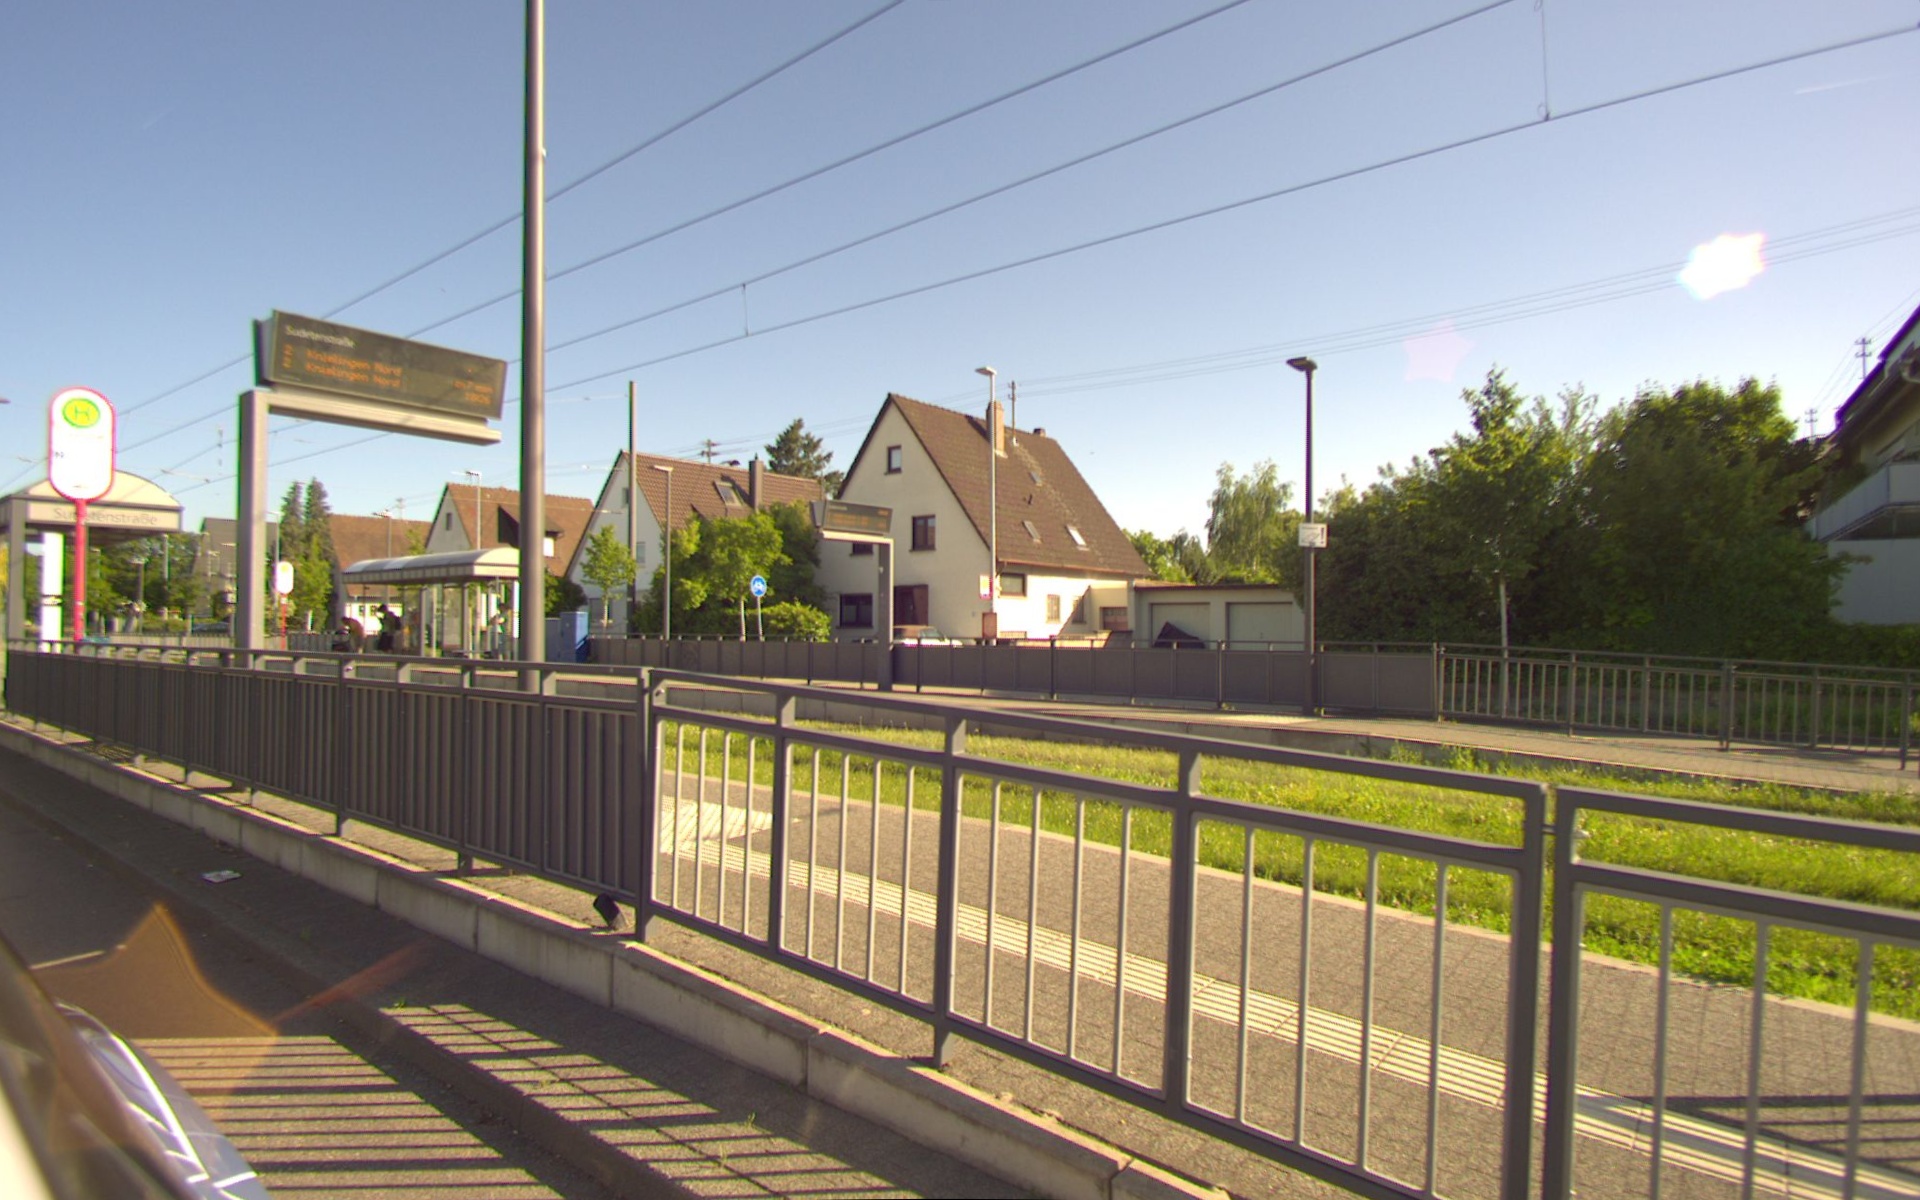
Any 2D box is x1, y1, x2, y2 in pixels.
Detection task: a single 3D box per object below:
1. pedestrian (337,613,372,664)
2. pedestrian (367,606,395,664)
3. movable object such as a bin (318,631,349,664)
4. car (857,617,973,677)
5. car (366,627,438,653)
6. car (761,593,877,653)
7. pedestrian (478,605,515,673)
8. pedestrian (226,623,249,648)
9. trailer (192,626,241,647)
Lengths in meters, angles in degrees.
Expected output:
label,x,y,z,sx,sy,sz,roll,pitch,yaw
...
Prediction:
label,x,y,z,sx,sy,sz,roll,pitch,yaw
pedestrian,-18.678,1.193,31.216,0.747,1.547,0.669,-1,-2,35
pedestrian,-17.504,1.061,30.608,0.579,1.721,0.515,-2,-2,35
movable object such as a bin,-19.017,1.432,30.707,0.740,0.995,0.541,-1,-2,35
car,-1.441,1.503,33.632,1.797,1.820,3.807,-1,0,39
car,-32.662,2.321,59.158,5.157,1.461,1.915,-1,-2,39
car,-4.845,0.751,35.238,1.926,1.984,3.958,-1,0,31
pedestrian,-11.897,0.995,25.977,0.770,1.709,0.495,-2,-5,40
pedestrian,-47.998,2.345,67.260,1.084,1.653,0.955,-1,-2,39
trailer,-60.531,2.958,82.434,1.396,1.660,2.887,-1,-2,36
